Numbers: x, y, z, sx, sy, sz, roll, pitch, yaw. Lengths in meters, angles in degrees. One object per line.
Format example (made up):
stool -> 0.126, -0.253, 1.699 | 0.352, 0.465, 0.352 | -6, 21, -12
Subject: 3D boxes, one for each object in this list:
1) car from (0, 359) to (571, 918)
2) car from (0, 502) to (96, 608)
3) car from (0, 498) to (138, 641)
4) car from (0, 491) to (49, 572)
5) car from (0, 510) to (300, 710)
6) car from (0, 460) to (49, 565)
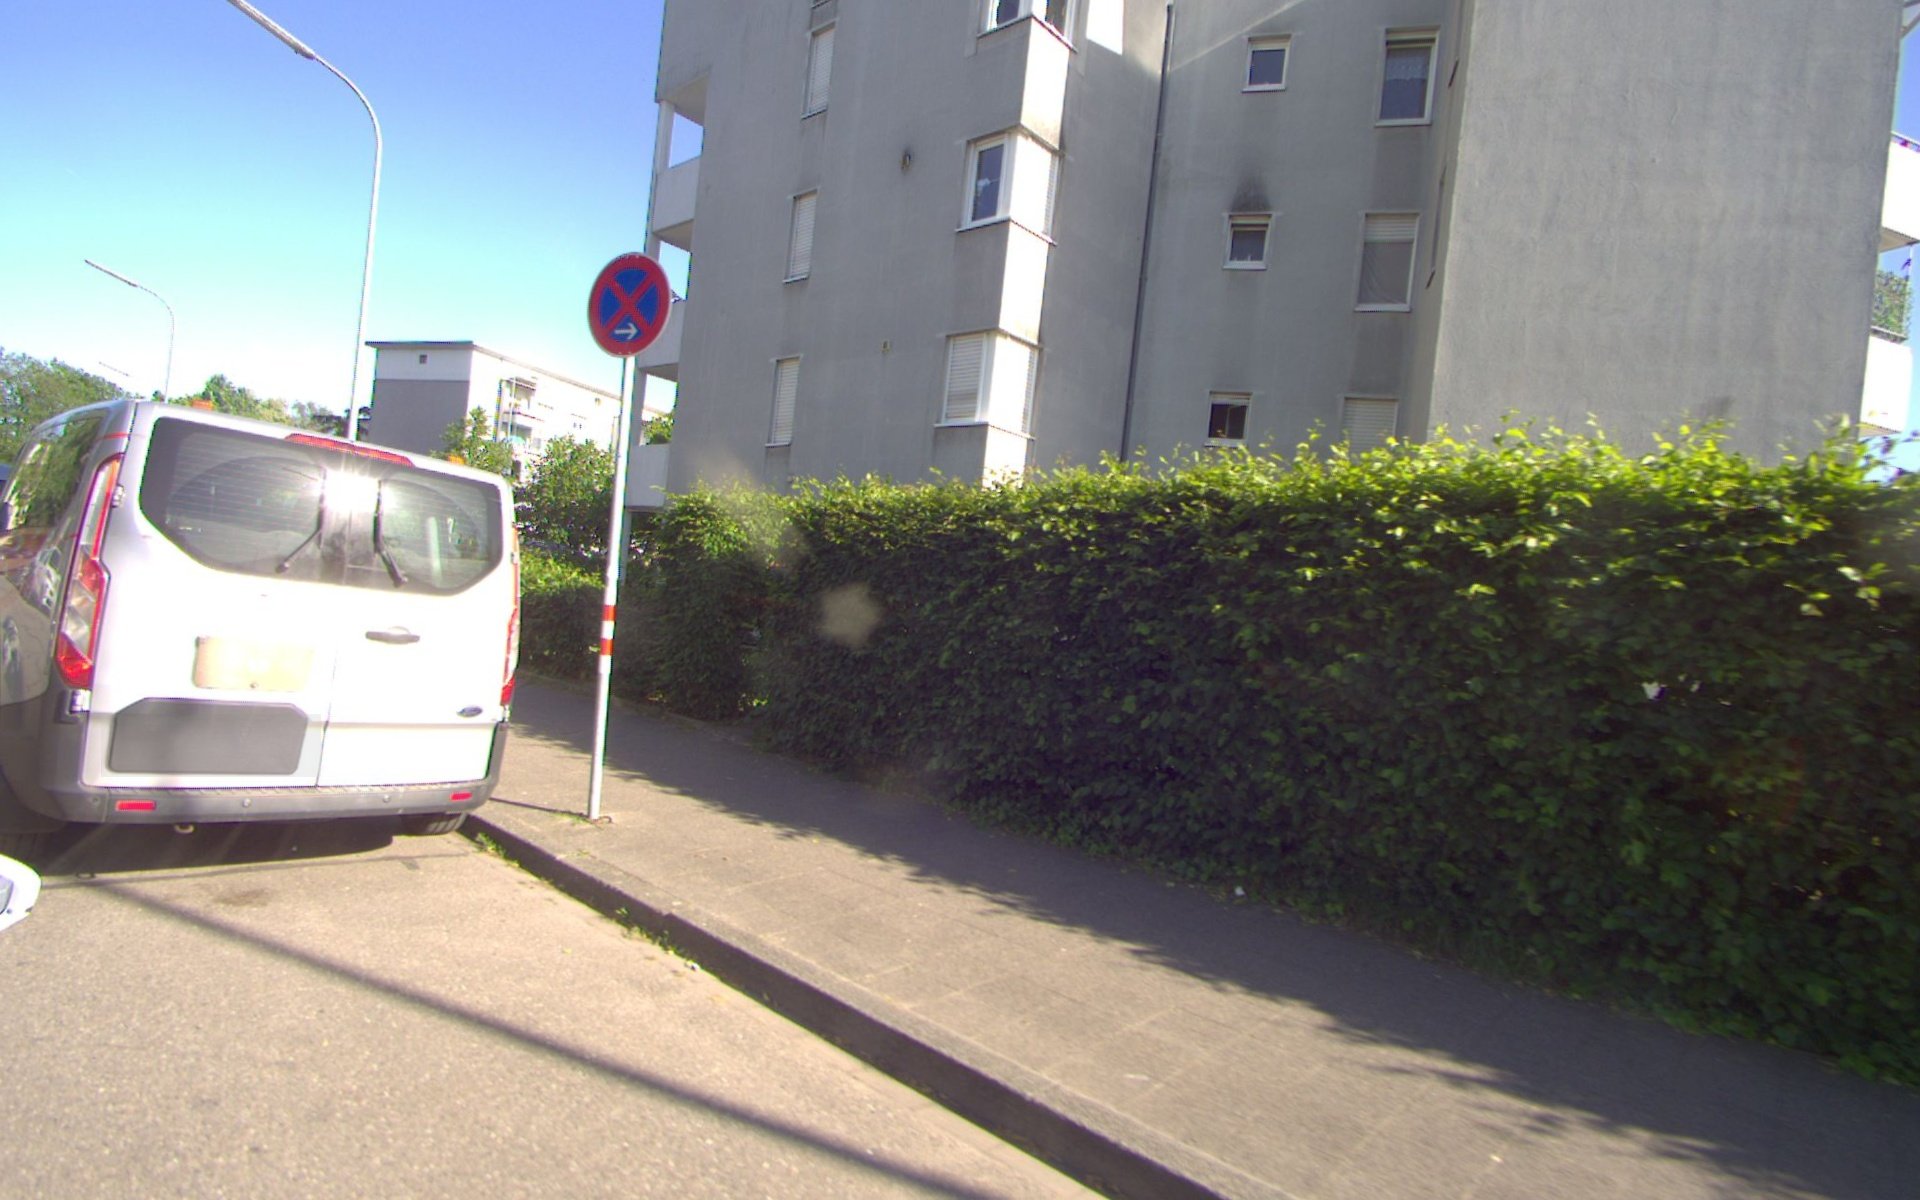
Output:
car -> -4.456, 0.050, 5.830 | 4.886, 1.936, 1.990 | 6, -1, 42
car -> -15.969, -0.859, 16.763 | 4.317, 1.507, 1.905 | 6, -1, 44
car -> -12.000, -0.495, 12.716 | 4.317, 1.507, 1.905 | 6, -1, 44
car -> -22.551, -1.696, 23.178 | 4.317, 1.687, 1.905 | 6, -1, 44
car -> -8.198, -0.031, 9.462 | 4.854, 1.434, 1.991 | 6, -1, 41
car -> -26.171, -2.442, 27.086 | 2.099, 2.515, 5.784 | 8, -2, -43
